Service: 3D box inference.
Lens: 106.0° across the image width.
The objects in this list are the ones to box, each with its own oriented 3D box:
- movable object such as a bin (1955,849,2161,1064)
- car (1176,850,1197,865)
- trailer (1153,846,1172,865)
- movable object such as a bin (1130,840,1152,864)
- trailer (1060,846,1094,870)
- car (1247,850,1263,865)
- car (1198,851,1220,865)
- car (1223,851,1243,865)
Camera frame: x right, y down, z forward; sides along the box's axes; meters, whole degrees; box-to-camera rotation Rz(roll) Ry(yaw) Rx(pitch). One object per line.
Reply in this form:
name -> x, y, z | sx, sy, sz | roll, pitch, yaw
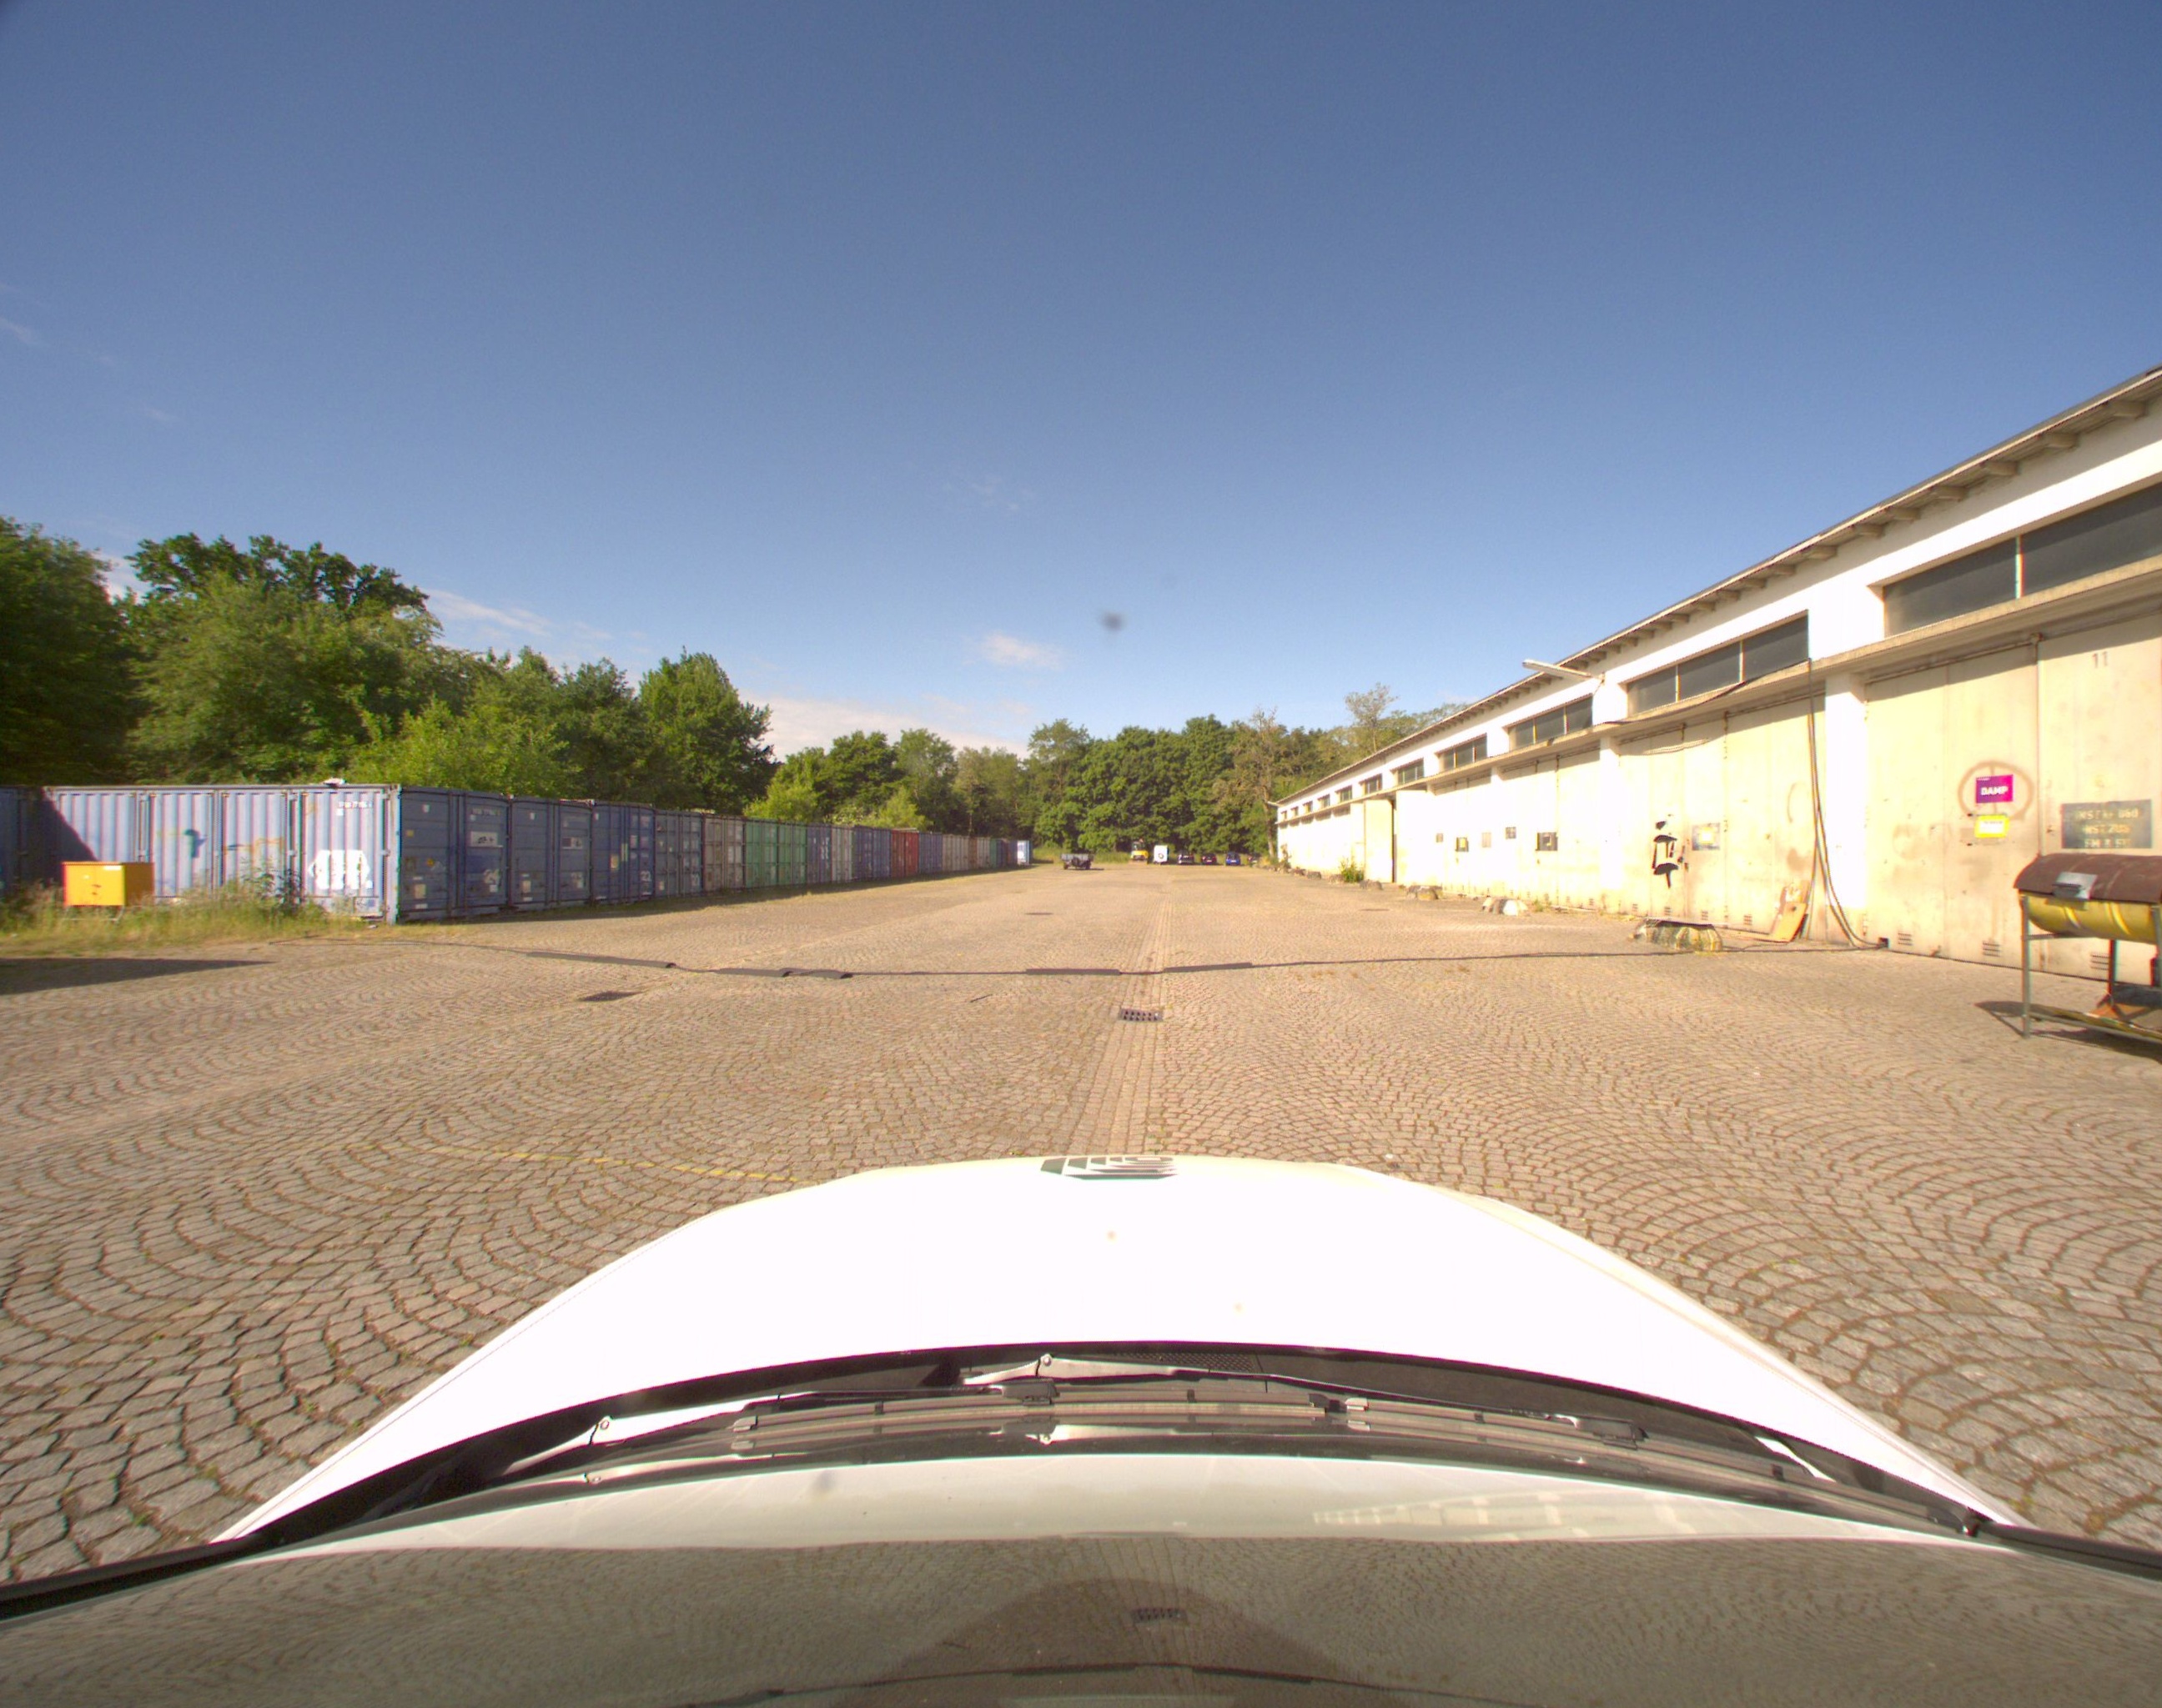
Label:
movable object such as a bin -> 7.105, 0.634, 5.609 | 0.820, 1.331, 1.281 | 0, 0, 1
car -> 11.548, 0.386, 88.866 | 1.848, 1.585, 4.015 | 0, 0, 13
trailer -> 9.109, 0.135, 91.105 | 1.782, 2.090, 3.983 | 0, 0, 10
movable object such as a bin -> 6.768, -0.184, 91.625 | 1.981, 2.618, 4.012 | 0, 0, 10
trailer -> -0.313, 0.337, 72.918 | 2.393, 2.013, 4.183 | 2, 0, 8
car -> 19.192, 0.356, 89.796 | 1.673, 1.563, 4.015 | 0, 0, 13
car -> 14.019, 0.413, 89.085 | 1.980, 1.462, 4.015 | 0, 0, 13
car -> 16.625, 0.427, 88.818 | 1.980, 1.420, 4.015 | 0, 0, 13
